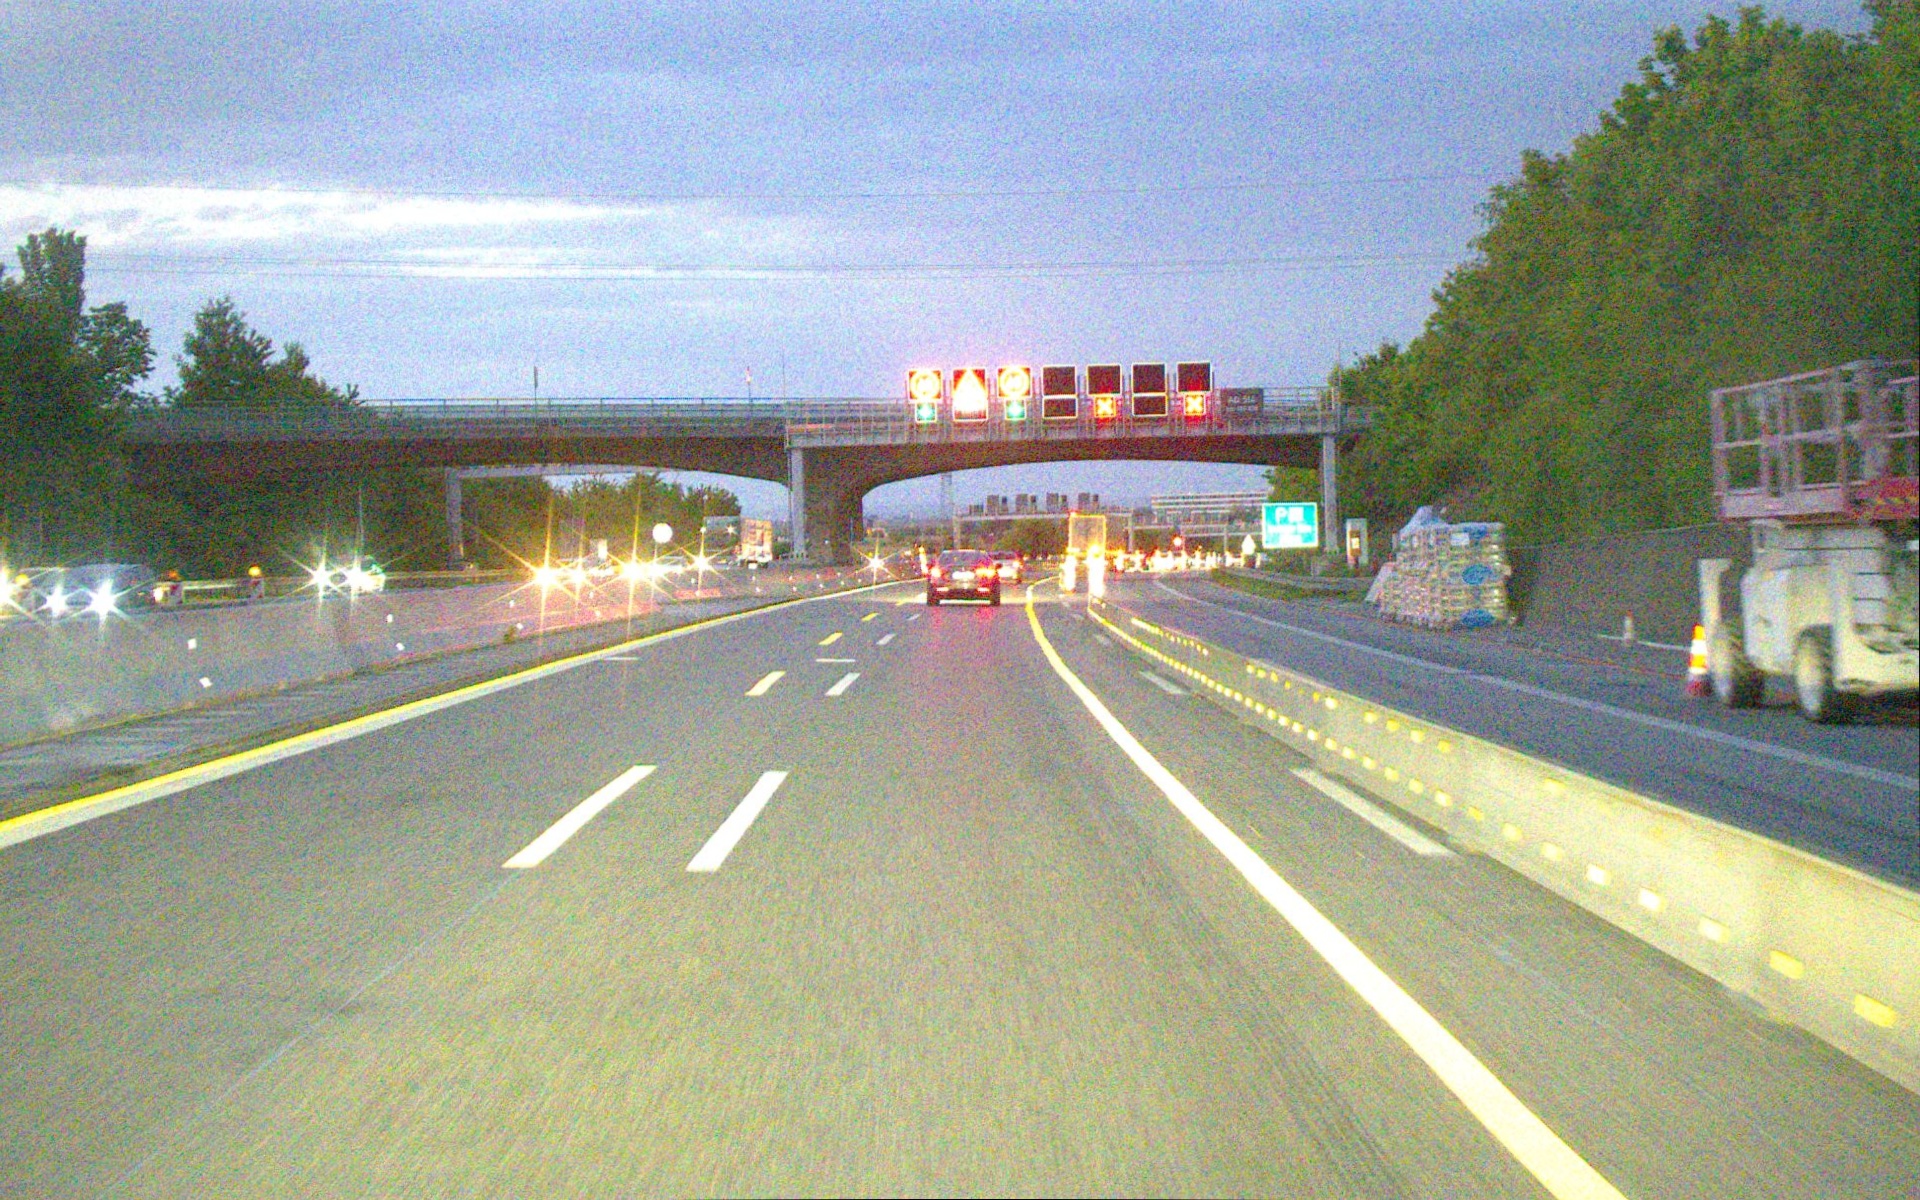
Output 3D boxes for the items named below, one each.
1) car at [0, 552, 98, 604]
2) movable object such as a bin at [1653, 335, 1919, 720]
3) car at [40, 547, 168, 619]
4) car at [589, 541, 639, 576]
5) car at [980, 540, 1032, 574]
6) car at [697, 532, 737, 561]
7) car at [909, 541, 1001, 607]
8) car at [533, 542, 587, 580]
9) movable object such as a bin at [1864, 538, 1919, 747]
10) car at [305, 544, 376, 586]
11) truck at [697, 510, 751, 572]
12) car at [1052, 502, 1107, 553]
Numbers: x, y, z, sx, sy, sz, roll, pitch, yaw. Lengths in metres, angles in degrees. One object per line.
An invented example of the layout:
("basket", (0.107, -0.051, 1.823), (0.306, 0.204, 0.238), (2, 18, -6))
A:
("car", (-27.141, -0.656, 101.917), (1.825, 1.480, 4.701), (1, 1, 2))
("movable object such as a bin", (8.131, -0.629, 30.664), (2.620, 3.097, 5.806), (-1, 1, -1))
("car", (-21.707, -0.438, 87.354), (1.901, 1.732, 4.808), (1, 1, 2))
("car", (-16.942, -2.038, 168.378), (1.804, 1.632, 4.751), (1, 1, 2))
("car", (2.011, -1.851, 149.184), (1.972, 1.432, 3.999), (1, 1, 5))
("car", (-14.056, -3.099, 198.943), (1.737, 1.632, 4.891), (1, 1, 2))
("car", (-0.147, -0.667, 88.280), (2.265, 1.616, 4.000), (1, 1, -1))
("car", (-17.959, -1.765, 154.561), (1.679, 1.632, 4.751), (1, 1, 2))
("movable object such as a bin", (8.309, 0.297, 25.715), (1.993, 1.596, 4.085), (-2, 0, 0))
("car", (-24.937, -1.399, 138.497), (1.804, 1.632, 4.751), (1, 1, 2))
("truck", (-16.313, -4.068, 237.916), (2.777, 4.157, 6.385), (1, 1, 4))
("car", (8.250, -4.977, 238.864), (3.605, 3.384, 8.014), (1, 1, 1))
